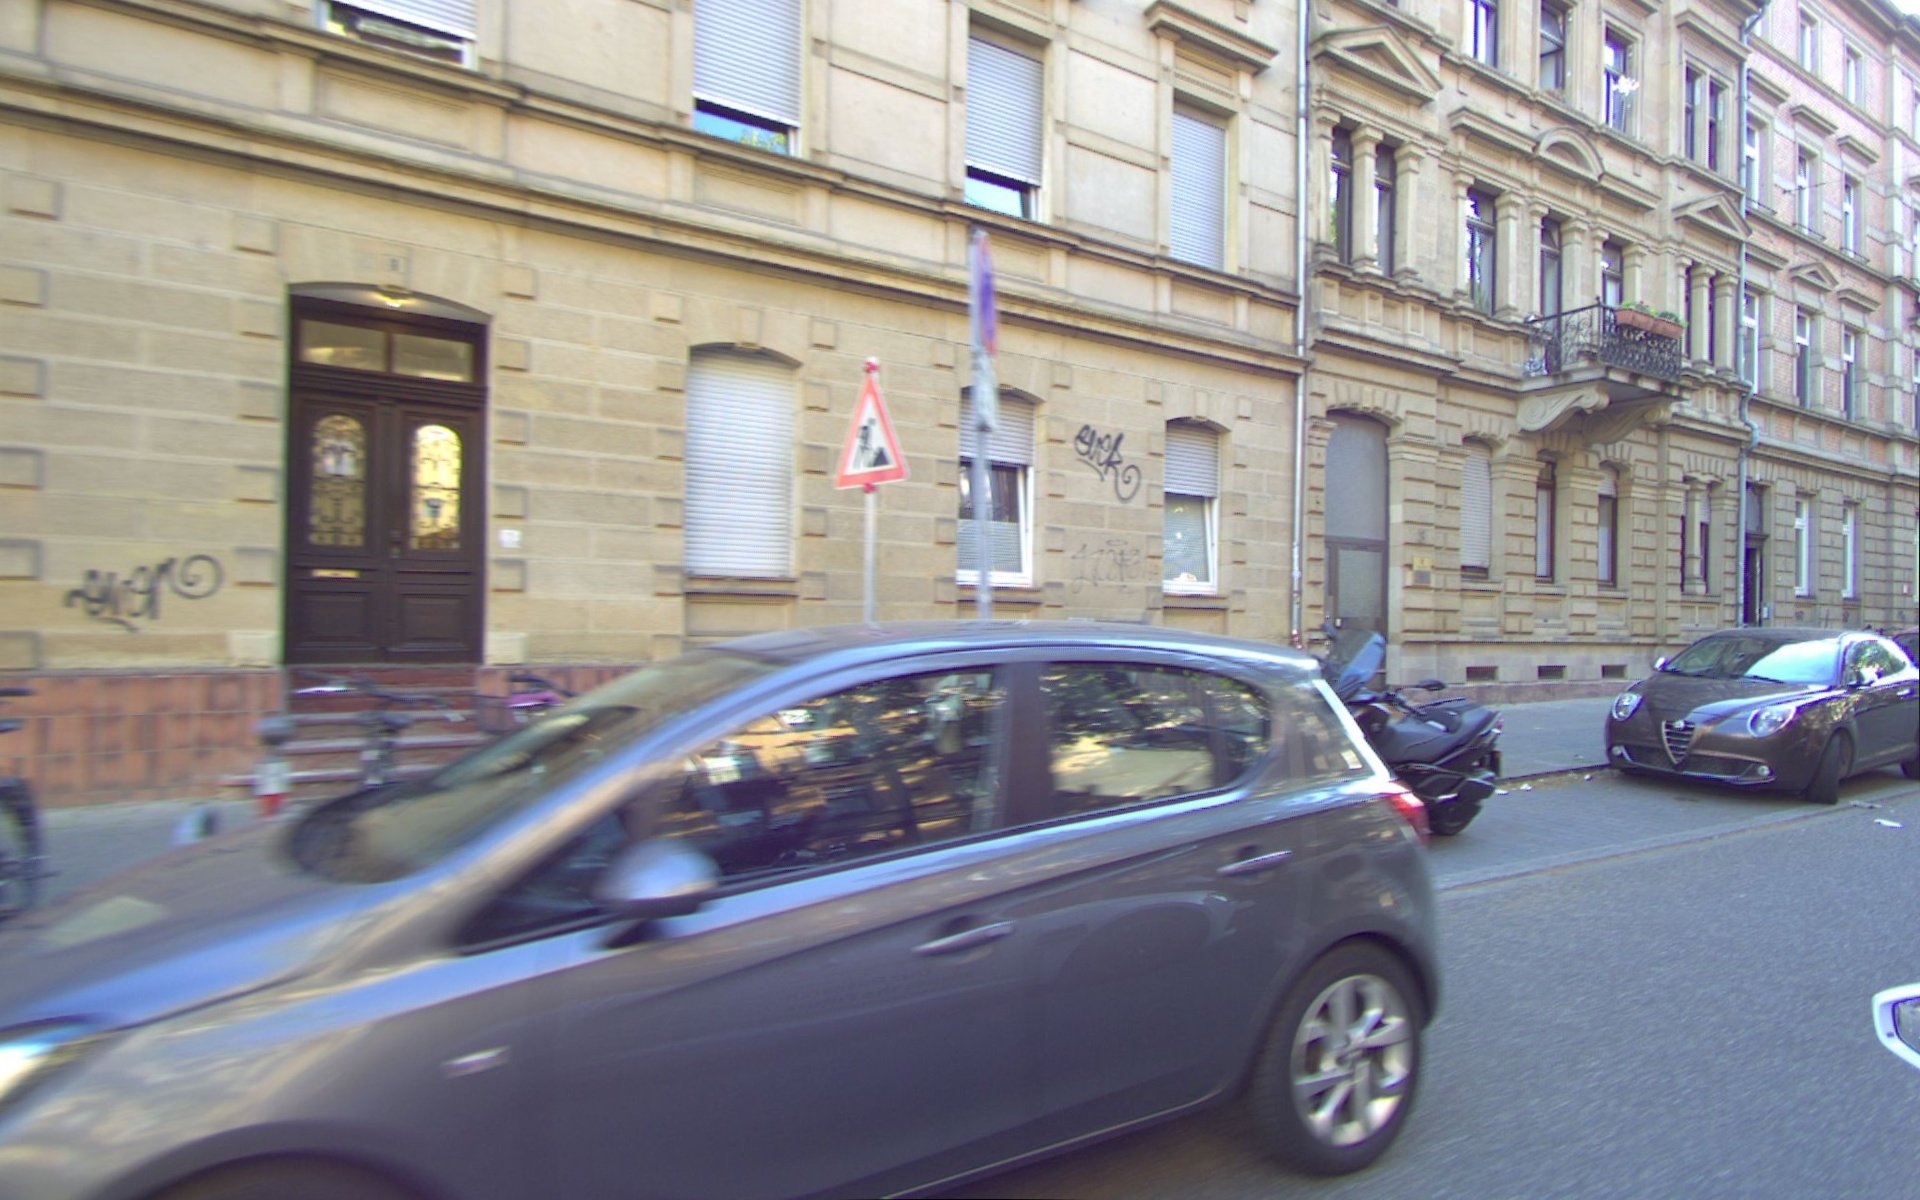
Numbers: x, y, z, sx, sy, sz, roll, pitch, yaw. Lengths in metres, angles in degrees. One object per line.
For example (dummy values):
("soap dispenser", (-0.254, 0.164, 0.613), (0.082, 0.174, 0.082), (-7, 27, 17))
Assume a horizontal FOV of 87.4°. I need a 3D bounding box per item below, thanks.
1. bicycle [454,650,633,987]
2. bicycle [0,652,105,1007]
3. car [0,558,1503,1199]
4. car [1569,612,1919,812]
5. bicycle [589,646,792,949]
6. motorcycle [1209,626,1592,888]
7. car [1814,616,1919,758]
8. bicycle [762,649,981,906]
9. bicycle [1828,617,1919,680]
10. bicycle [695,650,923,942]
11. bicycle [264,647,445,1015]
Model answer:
("bicycle", (-1.998, 0.859, 4.674), (0.522, 1.143, 1.858), (1, 0, -30))
("bicycle", (-3.718, 0.818, 3.681), (0.522, 1.143, 1.858), (1, 0, -30))
("car", (-0.573, 0.740, 2.765), (4.009, 1.521, 1.751), (1, -2, -29))
("car", (7.889, 0.922, 9.726), (4.014, 1.521, 1.749), (1, 1, -32))
("bicycle", (-1.434, 0.859, 5.085), (0.522, 1.143, 1.858), (1, 0, -30))
("motorcycle", (2.937, 0.880, 6.584), (2.578, 1.388, 1.060), (1, 0, -33))
("car", (11.864, 0.974, 11.802), (3.654, 1.495, 1.585), (1, 1, -29))
("bicycle", (-0.588, 0.913, 5.841), (0.522, 1.143, 1.858), (1, 0, -30))
("bicycle", (19.647, 1.017, 21.558), (2.795, 1.272, 0.736), (1, 0, -32))
("bicycle", (-0.868, 0.888, 5.254), (0.522, 1.143, 1.858), (1, 0, -30))
("bicycle", (-2.577, 0.828, 4.348), (0.522, 1.143, 1.858), (1, 0, -30))
